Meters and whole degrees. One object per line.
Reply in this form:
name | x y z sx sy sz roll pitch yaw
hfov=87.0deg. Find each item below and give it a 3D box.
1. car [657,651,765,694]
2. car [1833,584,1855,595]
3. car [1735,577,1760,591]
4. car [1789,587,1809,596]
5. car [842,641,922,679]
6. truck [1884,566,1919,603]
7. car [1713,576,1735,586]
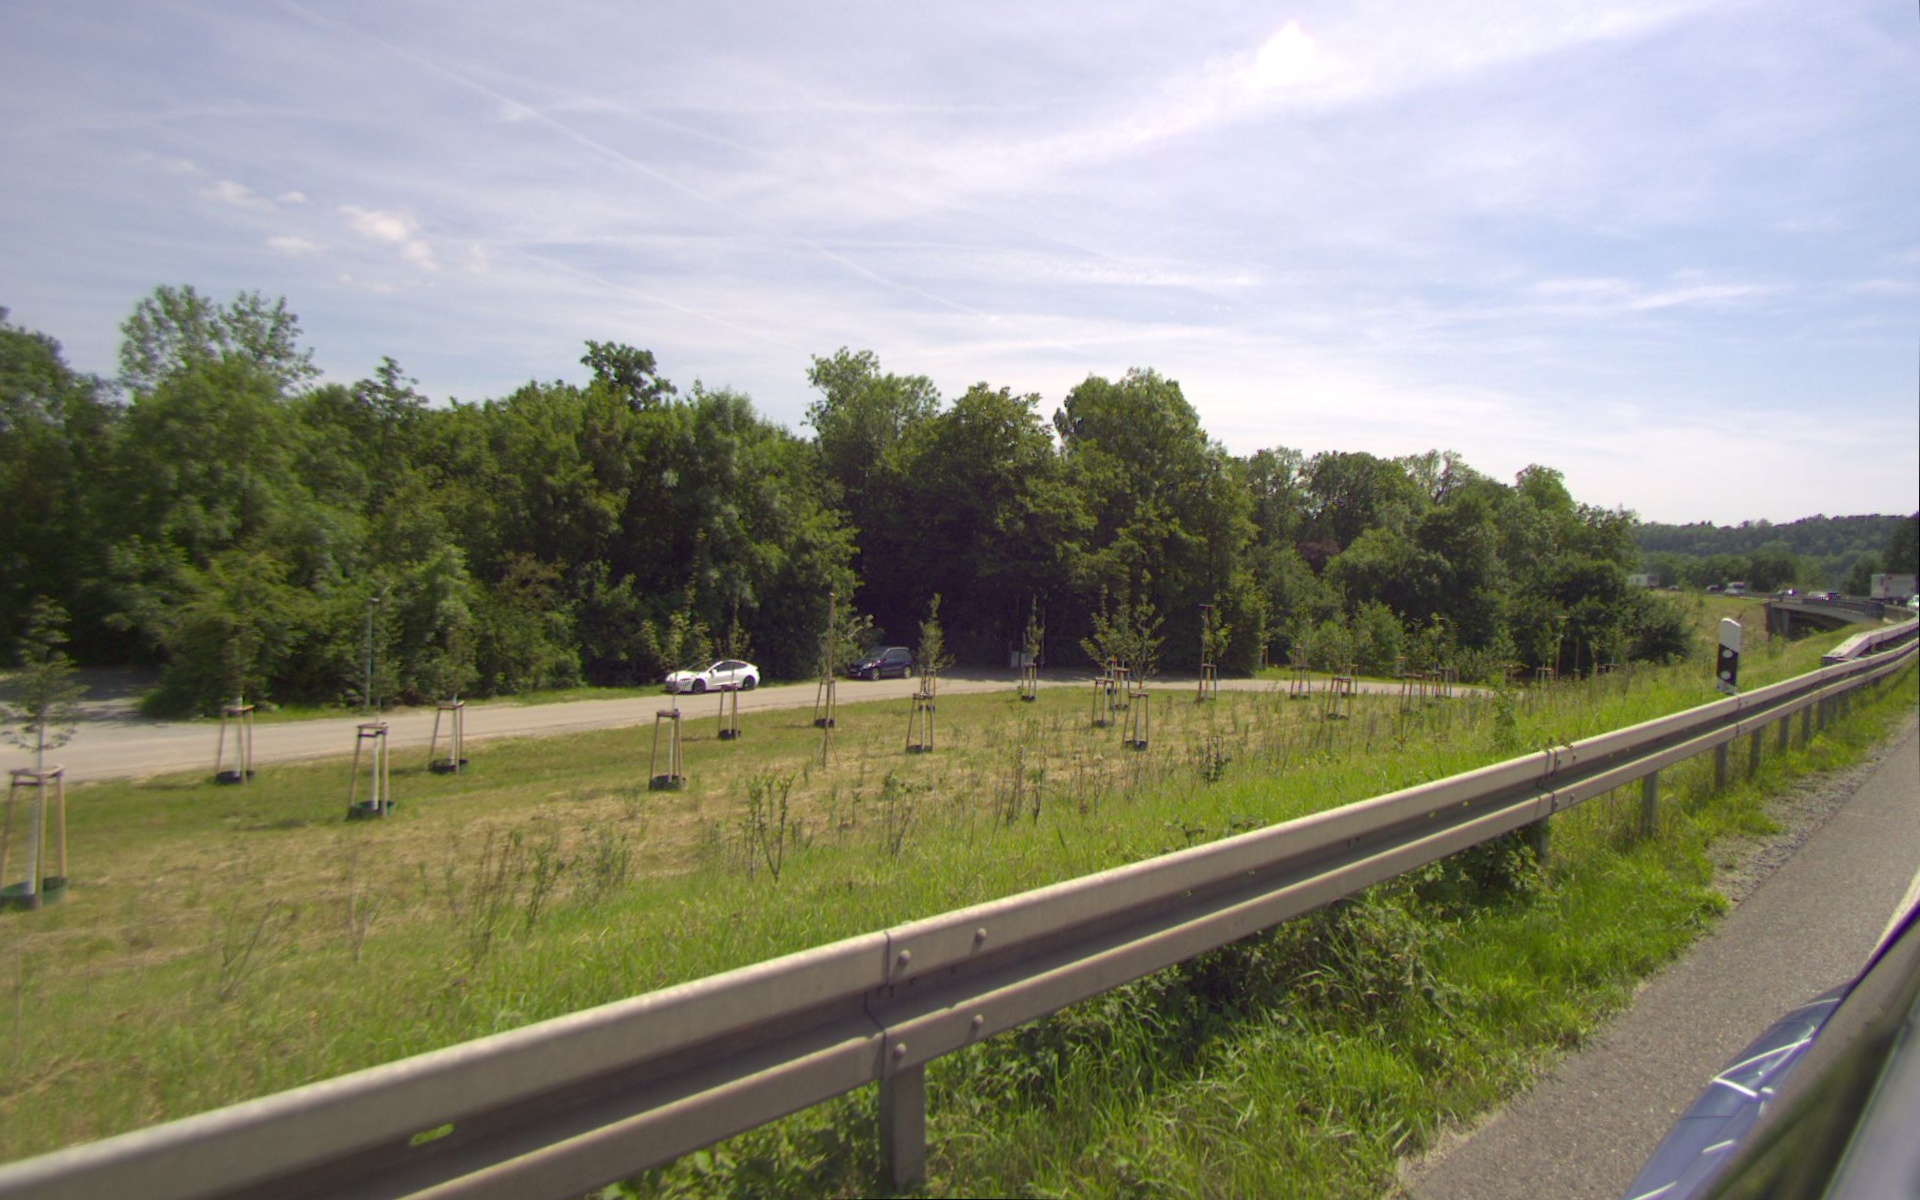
car | -11.266 3.254 46.022 1.856 1.500 4.542 6 4 39
car | 123.908 -1.452 141.830 1.714 1.501 4.514 0 1 34
car | 149.783 -3.041 192.512 2.160 2.591 5.757 0 2 21
car | 135.551 -1.434 163.514 1.711 1.453 4.570 0 1 29
car | -4.168 3.193 54.600 1.857 1.702 4.136 6 3 42
truck | 103.962 -1.644 111.021 2.908 3.851 9.577 1 1 37
car | 154.500 -3.847 204.594 1.832 1.821 4.955 0 2 15
